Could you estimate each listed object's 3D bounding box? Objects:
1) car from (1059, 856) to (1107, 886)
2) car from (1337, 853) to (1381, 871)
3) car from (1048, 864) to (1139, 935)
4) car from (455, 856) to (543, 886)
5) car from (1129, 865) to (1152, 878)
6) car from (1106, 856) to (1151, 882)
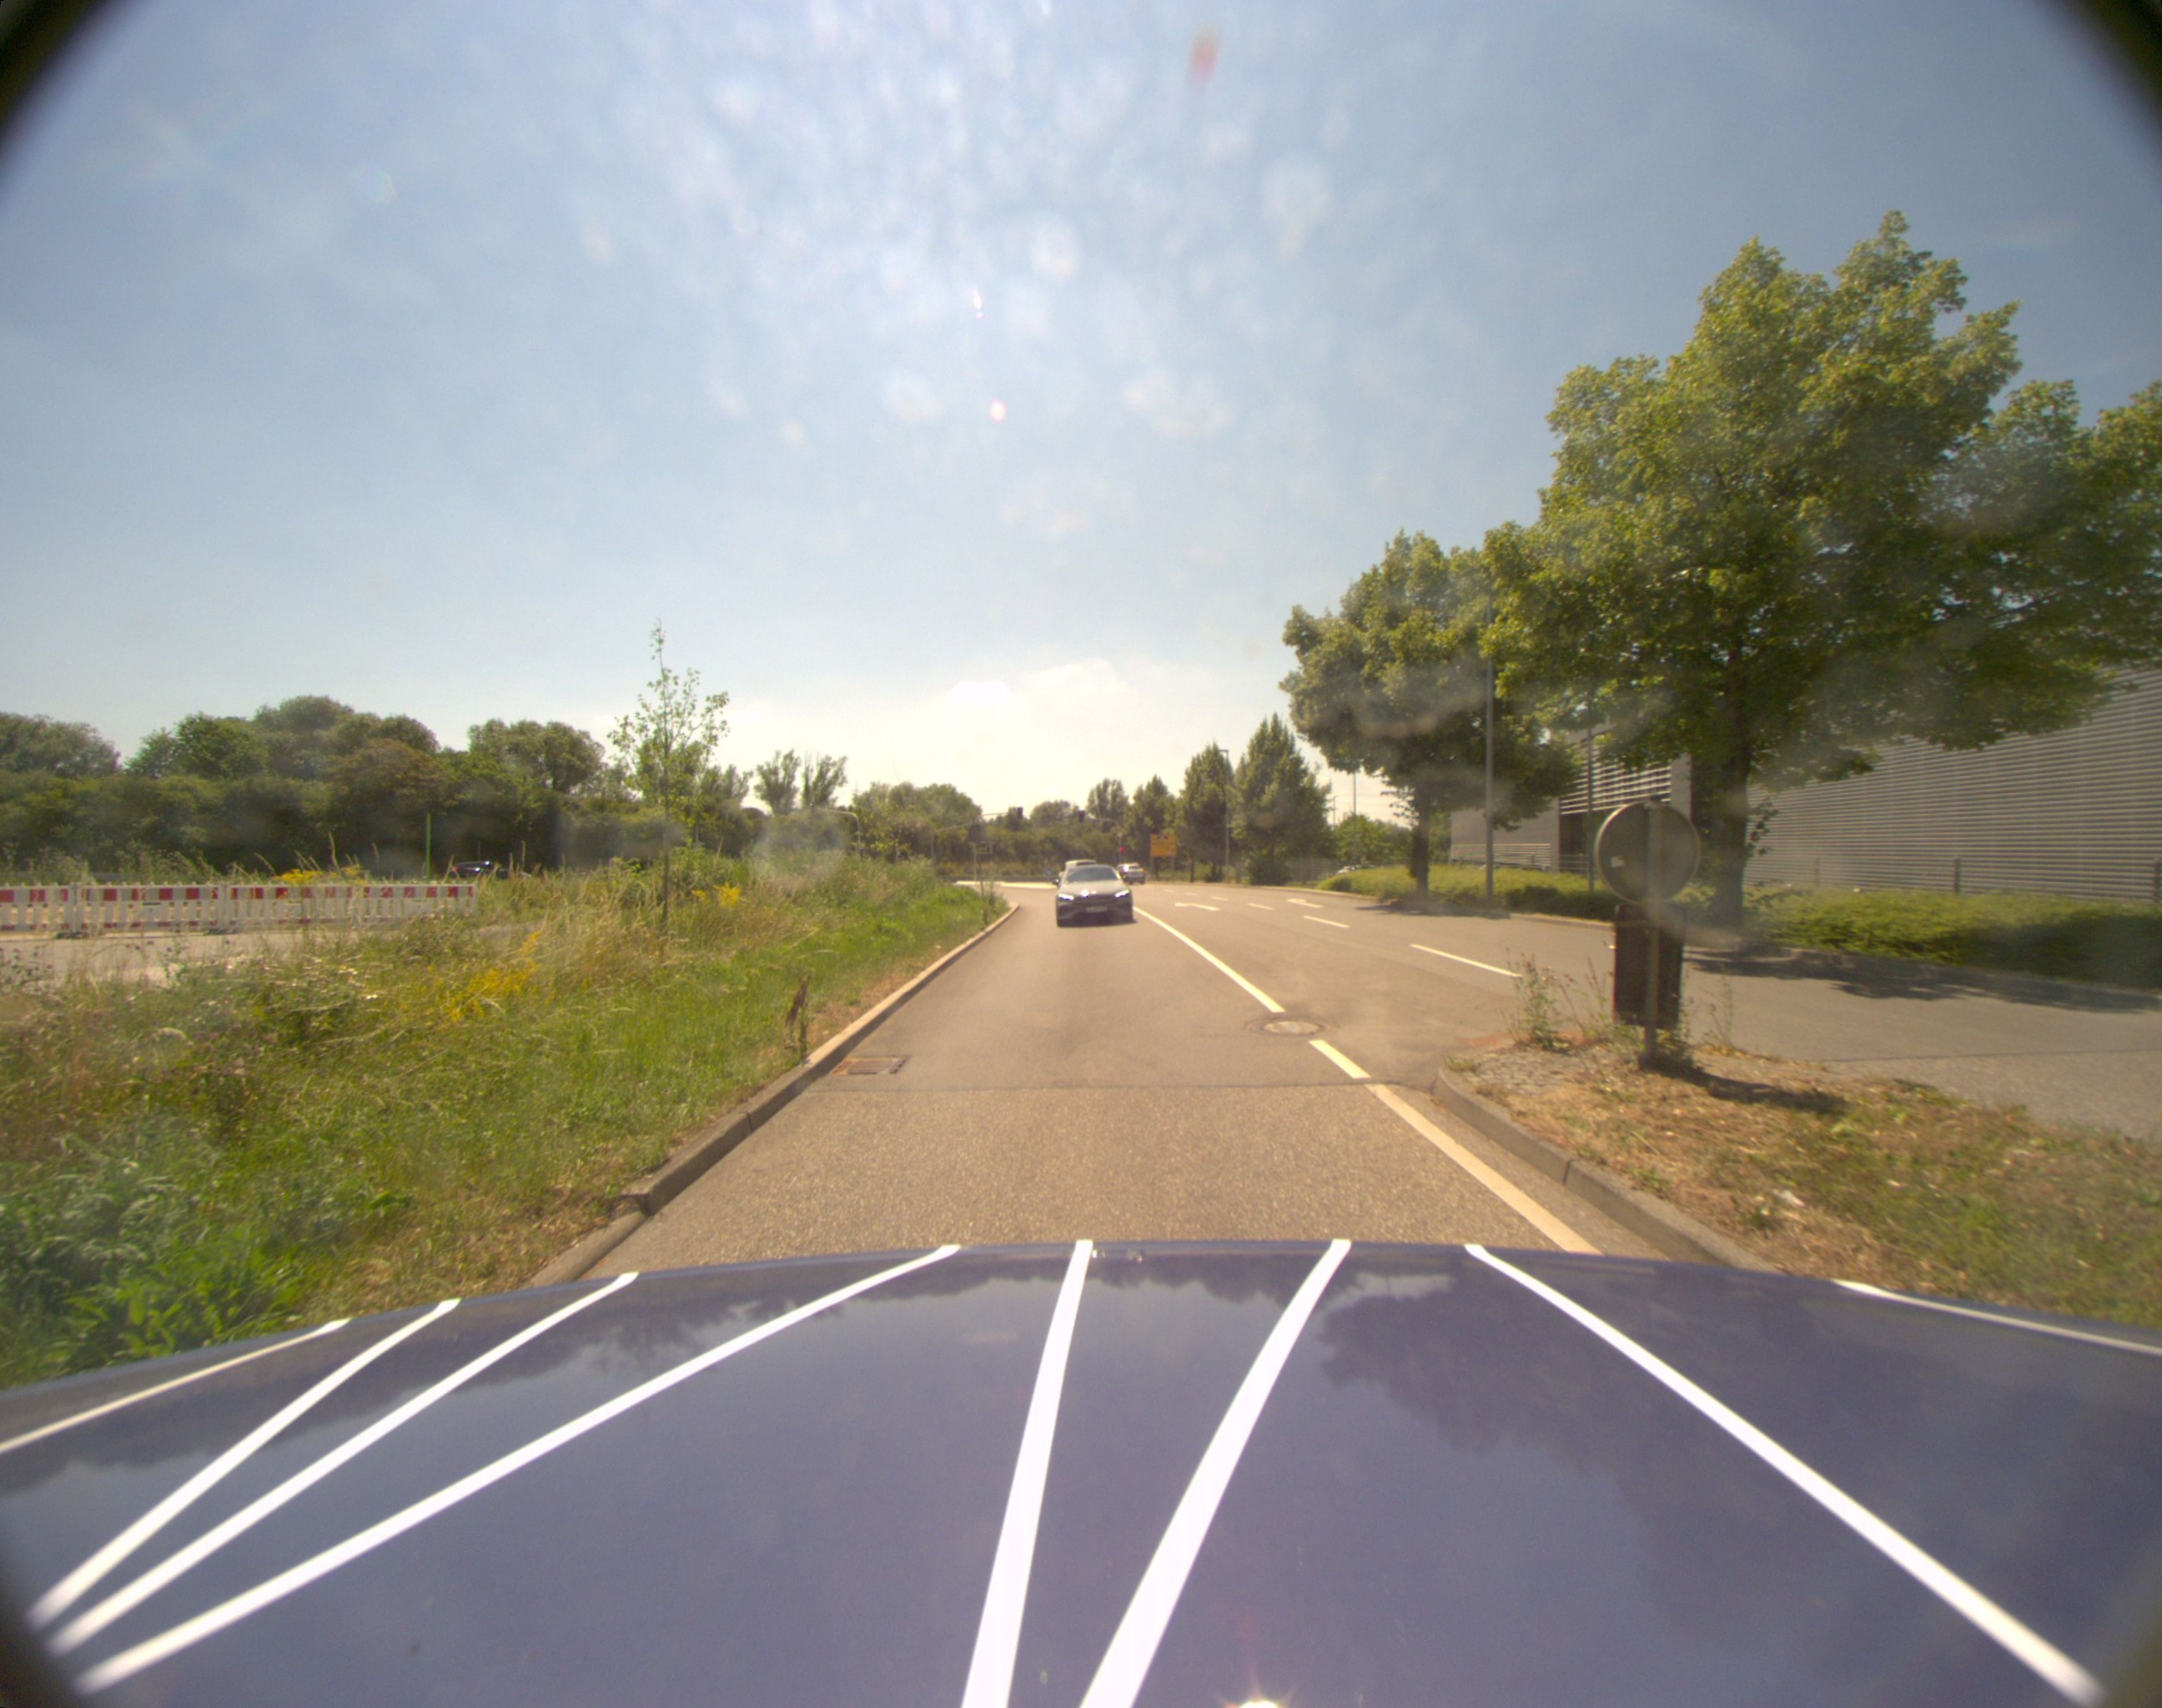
[{"bbox_3d":[0.071,1.184,54.869,2.001,1.932,4.863,-4,2,-17],"label":"car"},{"bbox_3d":[28.813,0.814,78.773,3.993,1.695,2.003,1,-2,12],"label":"car"},{"bbox_3d":[0.404,1.016,18.724,1.921,1.433,4.483,-3,-1,3],"label":"car"},{"bbox_3d":[-34.953,1.036,45.694,4.010,1.629,1.777,3,-3,-43],"label":"car"},{"bbox_3d":[8.835,2.651,112.753,1.995,1.771,4.009,0,-3,28],"label":"car"},{"bbox_3d":[3.476,1.105,56.425,2.001,1.697,3.858,-4,2,-17],"label":"car"}]
